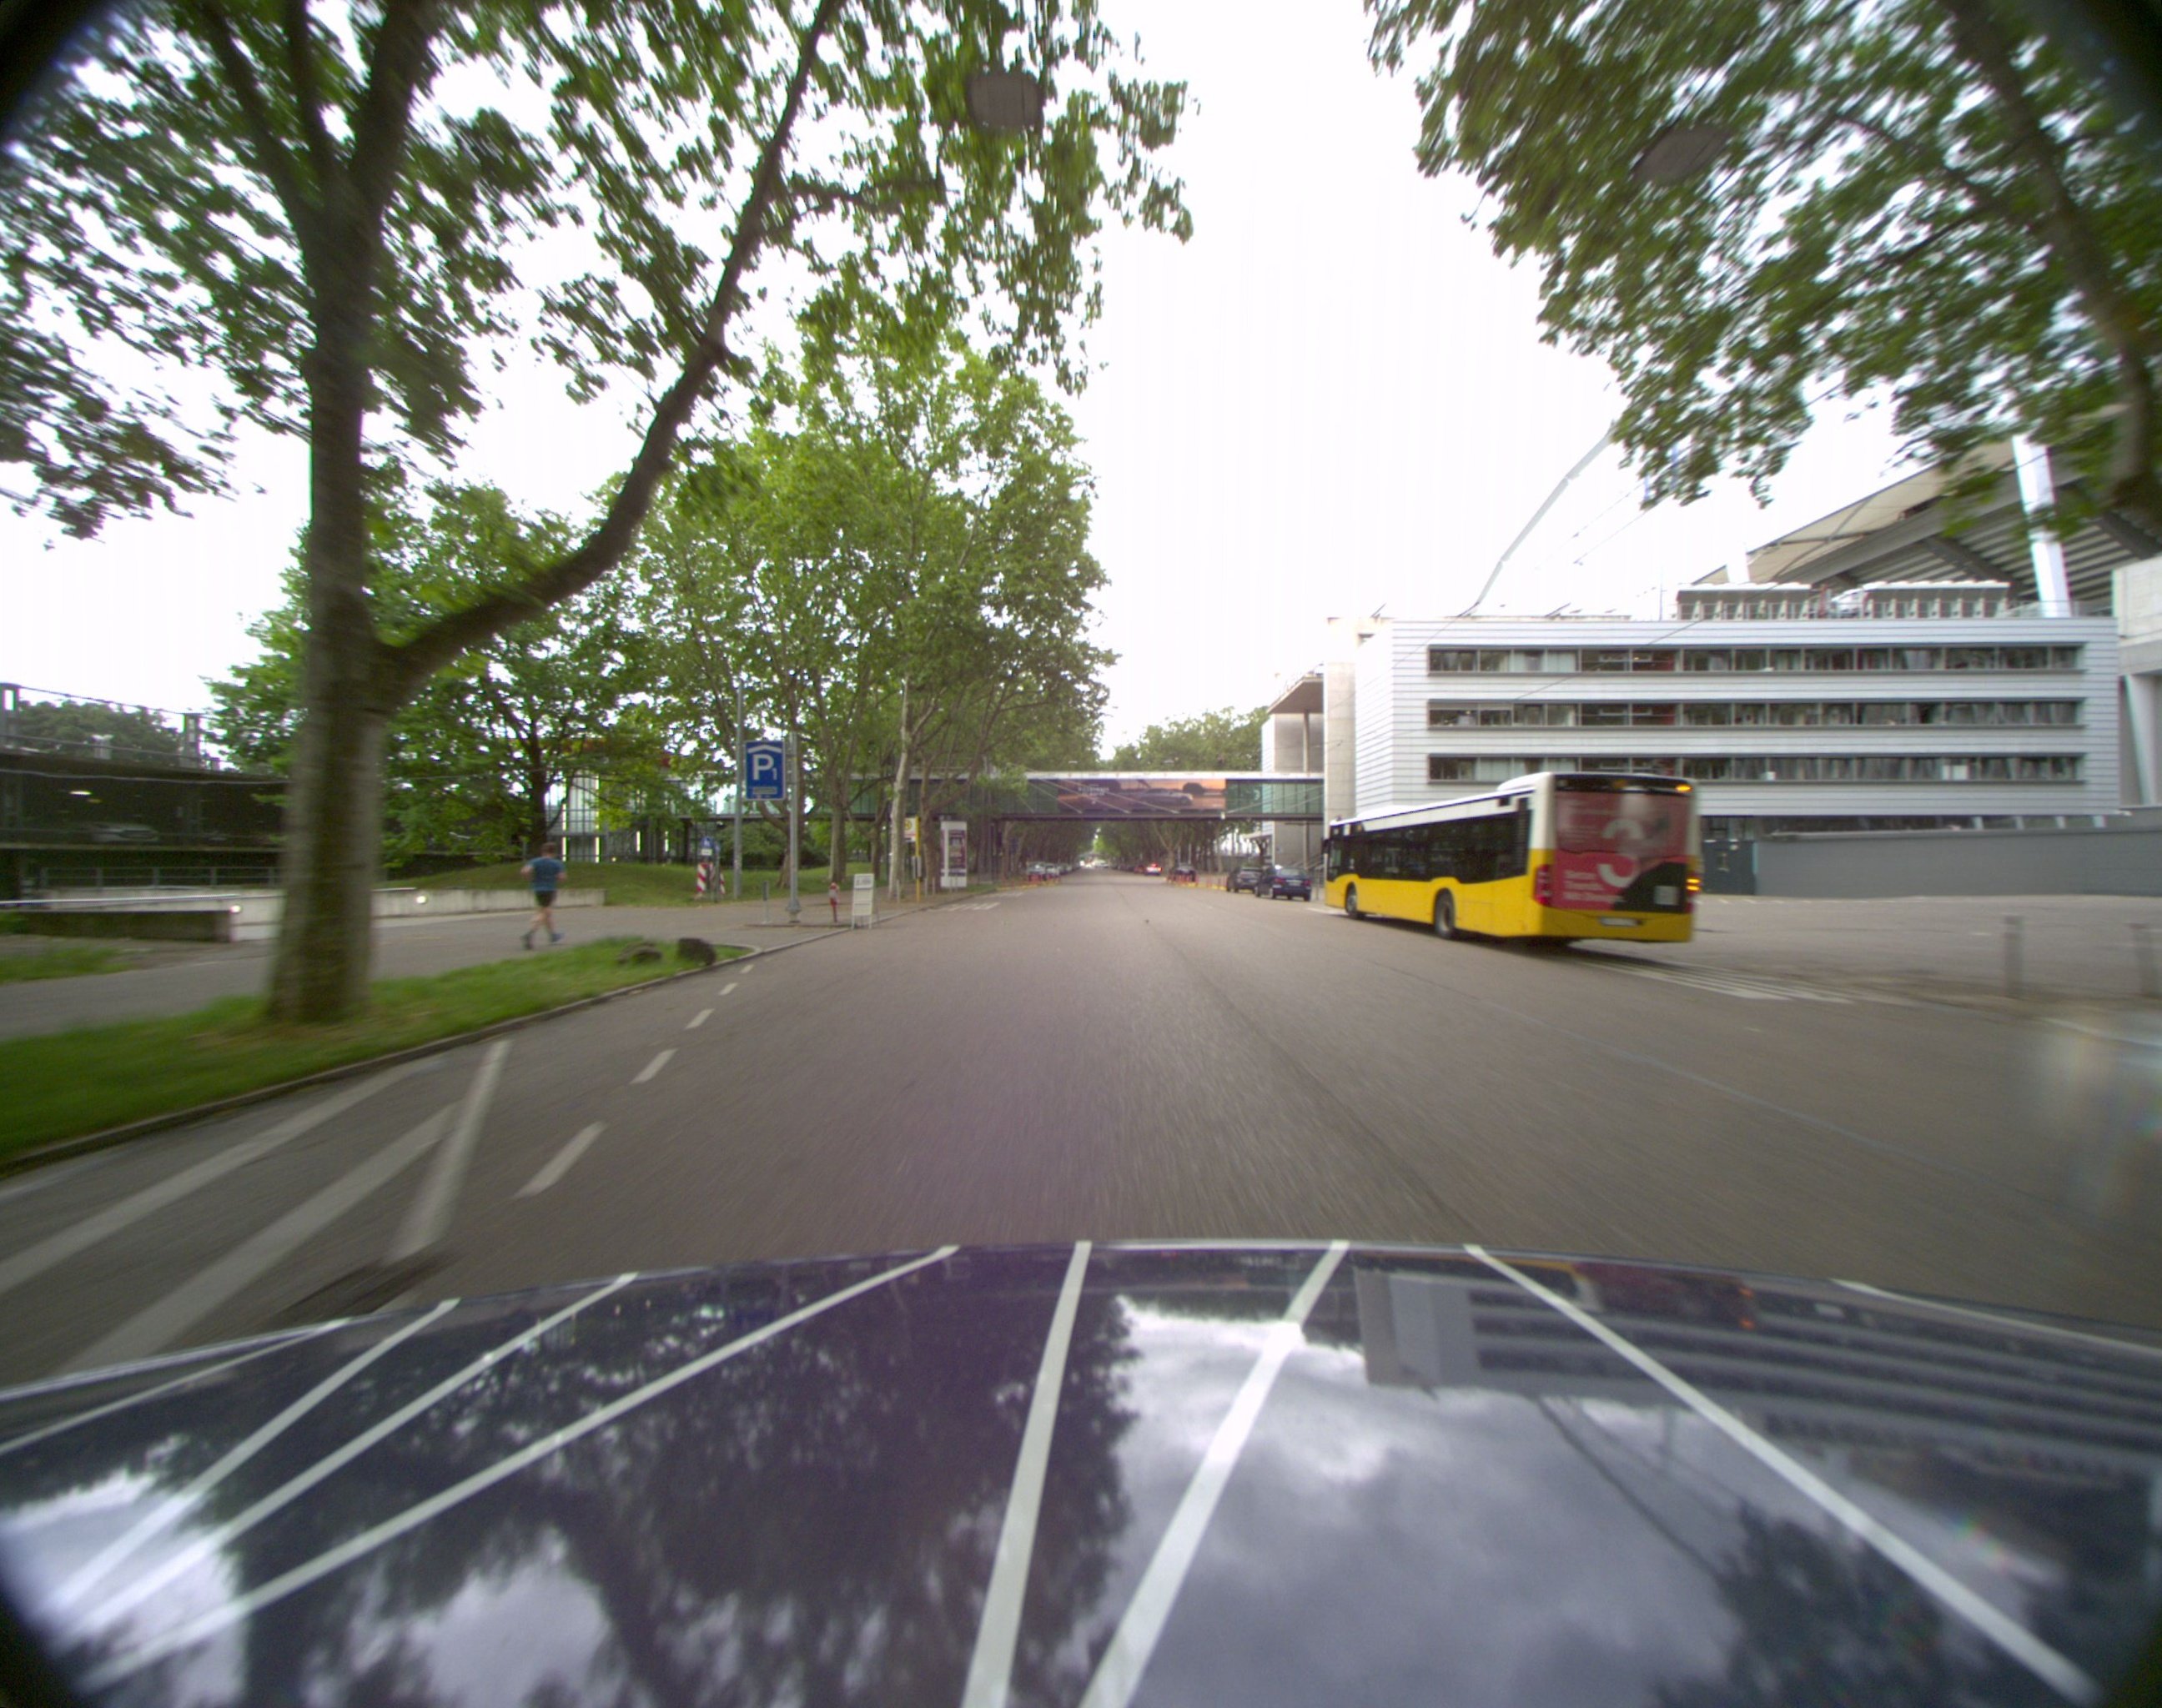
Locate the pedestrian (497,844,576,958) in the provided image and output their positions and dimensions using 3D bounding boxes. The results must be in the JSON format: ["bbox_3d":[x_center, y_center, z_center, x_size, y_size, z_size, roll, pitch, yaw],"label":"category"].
[{"bbox_3d":[-9.845,0.828,13.770,0.710,2.002,0.882,-1,0,10],"label":"pedestrian"}]

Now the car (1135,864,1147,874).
[{"bbox_3d":[9.913,2.489,126.087,1.757,1.652,4.000,-1,0,1],"label":"car"}]

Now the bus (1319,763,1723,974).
[{"bbox_3d":[8.723,0.245,17.937,2.657,3.136,12.371,3,0,2],"label":"bus"}]

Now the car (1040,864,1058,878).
[{"bbox_3d":[-3.584,1.898,85.535,1.921,1.561,4.497,0,0,-1],"label":"car"}]

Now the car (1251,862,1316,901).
[{"bbox_3d":[9.385,1.254,35.611,1.758,1.557,4.387,4,0,0],"label":"car"}]

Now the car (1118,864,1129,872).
[{"bbox_3d":[8.668,2.809,155.841,1.921,1.561,4.497,0,0,-1],"label":"car"}]

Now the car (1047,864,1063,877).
[{"bbox_3d":[-3.202,2.029,94.252,1.921,1.561,4.497,0,0,-1],"label":"car"}]

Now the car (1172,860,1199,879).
[{"bbox_3d":[9.948,1.454,72.848,1.929,1.720,4.234,4,0,1],"label":"car"}]

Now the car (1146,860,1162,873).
[{"bbox_3d":[9.771,1.593,101.618,1.757,1.652,4.000,-1,0,1],"label":"car"}]

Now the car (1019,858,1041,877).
[{"bbox_3d":[-4.565,1.171,68.413,1.757,1.687,4.497,0,0,-1],"label":"car"}]

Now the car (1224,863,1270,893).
[{"bbox_3d":[9.577,1.371,44.122,1.758,1.505,4.009,4,0,1],"label":"car"}]

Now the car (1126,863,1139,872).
[{"bbox_3d":[9.772,2.583,144.437,1.921,1.561,4.497,0,0,-1],"label":"car"}]

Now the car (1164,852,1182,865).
[{"bbox_3d":[11.190,0.543,92.699,1.661,1.461,3.803,4,0,1],"label":"car"}]
